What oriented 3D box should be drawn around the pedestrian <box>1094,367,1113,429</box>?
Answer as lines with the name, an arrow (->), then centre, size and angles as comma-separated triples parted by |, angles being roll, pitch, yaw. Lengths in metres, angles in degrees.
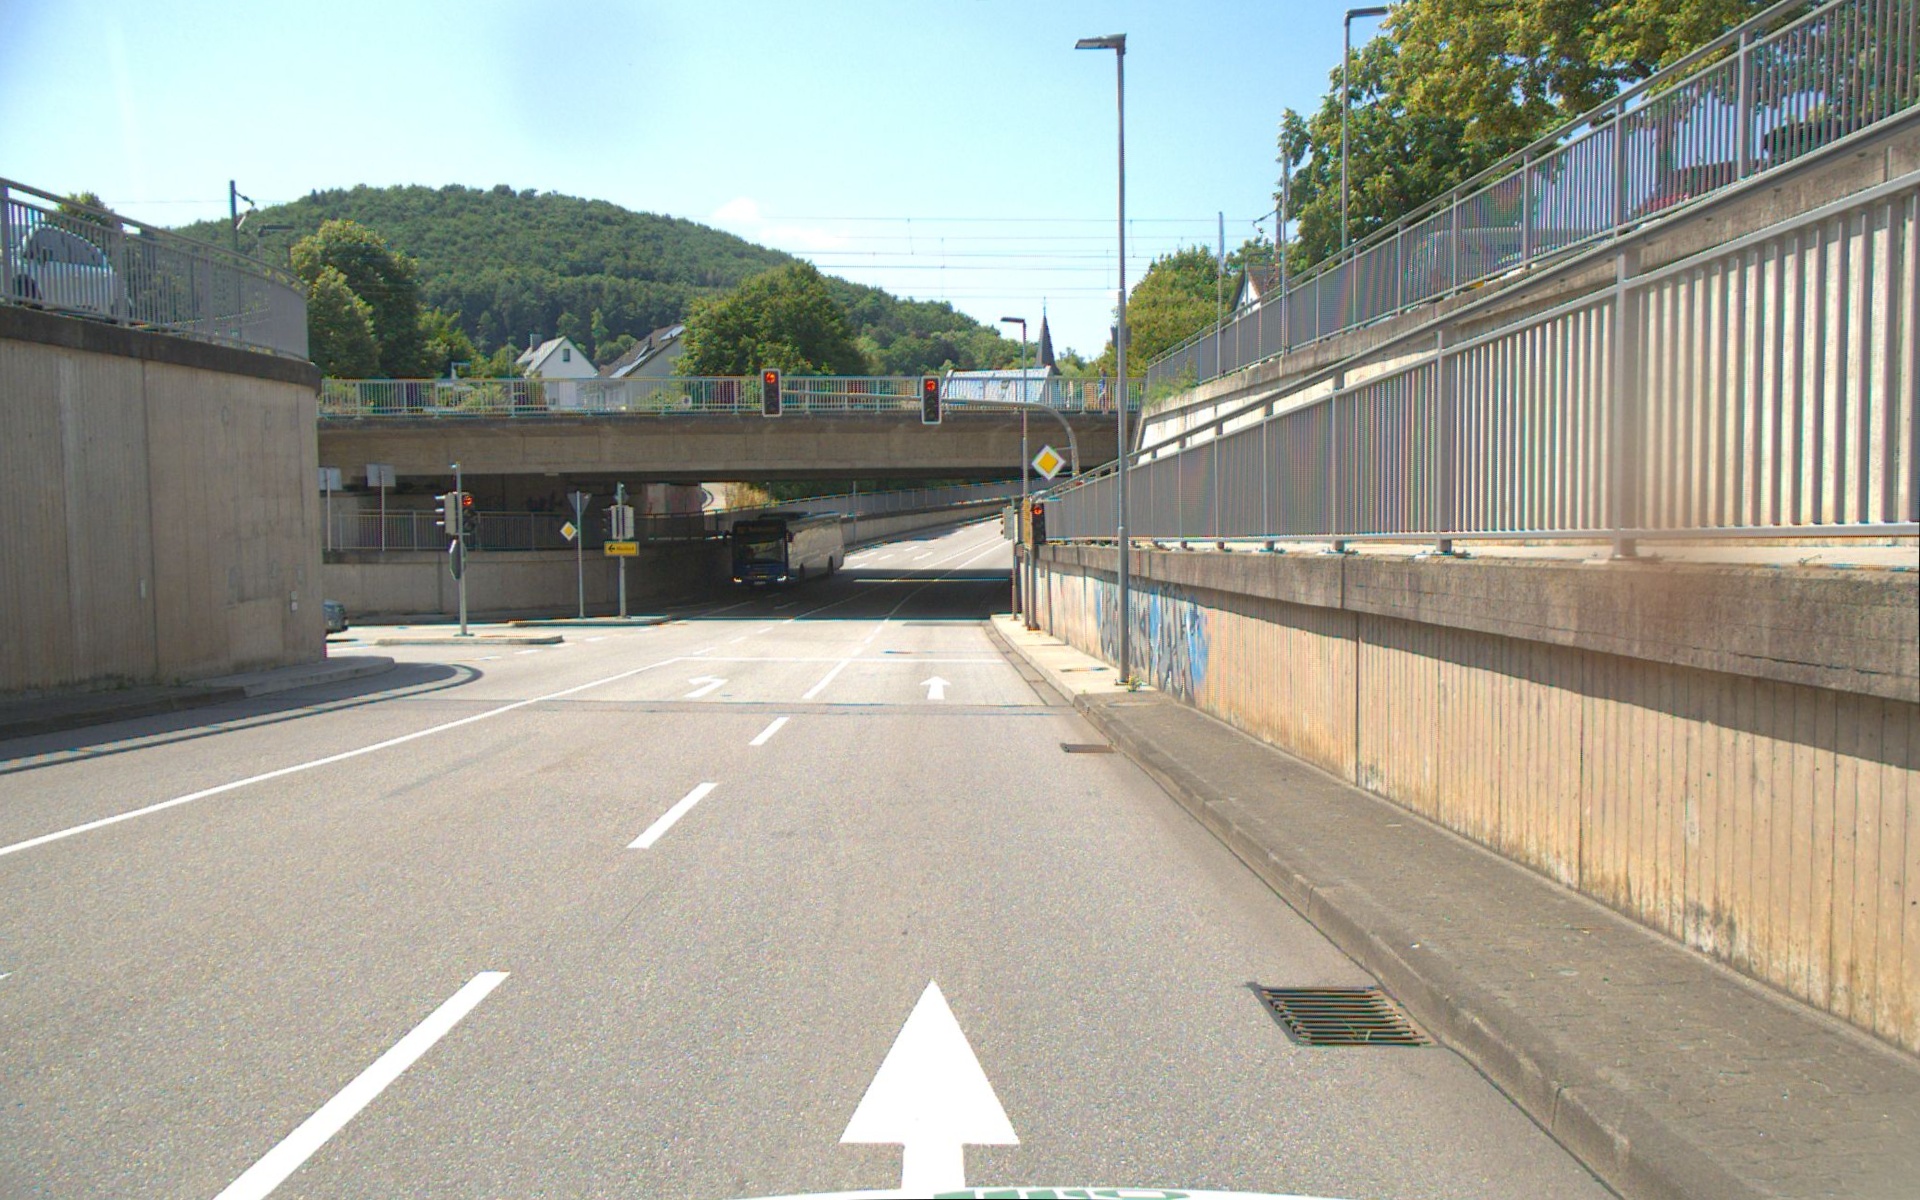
pedestrian -> 5.057, -7.130, 58.385 | 0.529, 2.117, 0.534 | -1, 1, -8

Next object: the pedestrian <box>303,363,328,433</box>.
pedestrian -> -20.215, -6.329, 51.885 | 0.566, 2.117, 0.534 | -1, 1, -11

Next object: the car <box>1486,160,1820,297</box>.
car -> 9.520, -5.123, 22.961 | 3.904, 1.512, 1.770 | 0, 1, 2

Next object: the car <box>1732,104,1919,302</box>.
car -> 9.828, -3.794, 15.994 | 3.904, 1.512, 1.770 | 0, 1, 2

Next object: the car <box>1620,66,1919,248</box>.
car -> 9.732, -4.946, 18.635 | 3.904, 1.594, 1.770 | 0, 1, 2

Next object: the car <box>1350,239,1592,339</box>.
car -> 9.300, -5.665, 30.318 | 3.904, 1.512, 1.770 | 0, 1, 2

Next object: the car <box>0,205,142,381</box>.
car -> -11.817, -3.673, 20.095 | 1.864, 1.696, 3.999 | 0, 3, -3

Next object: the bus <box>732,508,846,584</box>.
bus -> -7.680, -2.606, 76.294 | 2.526, 3.227, 12.390 | 0, 3, 7

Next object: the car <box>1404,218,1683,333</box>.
car -> 9.332, -5.206, 26.680 | 3.904, 1.512, 1.770 | 0, 1, 2

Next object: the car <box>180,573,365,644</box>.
car -> -17.199, 0.185, 41.520 | 3.913, 1.646, 1.807 | 0, 3, -9
